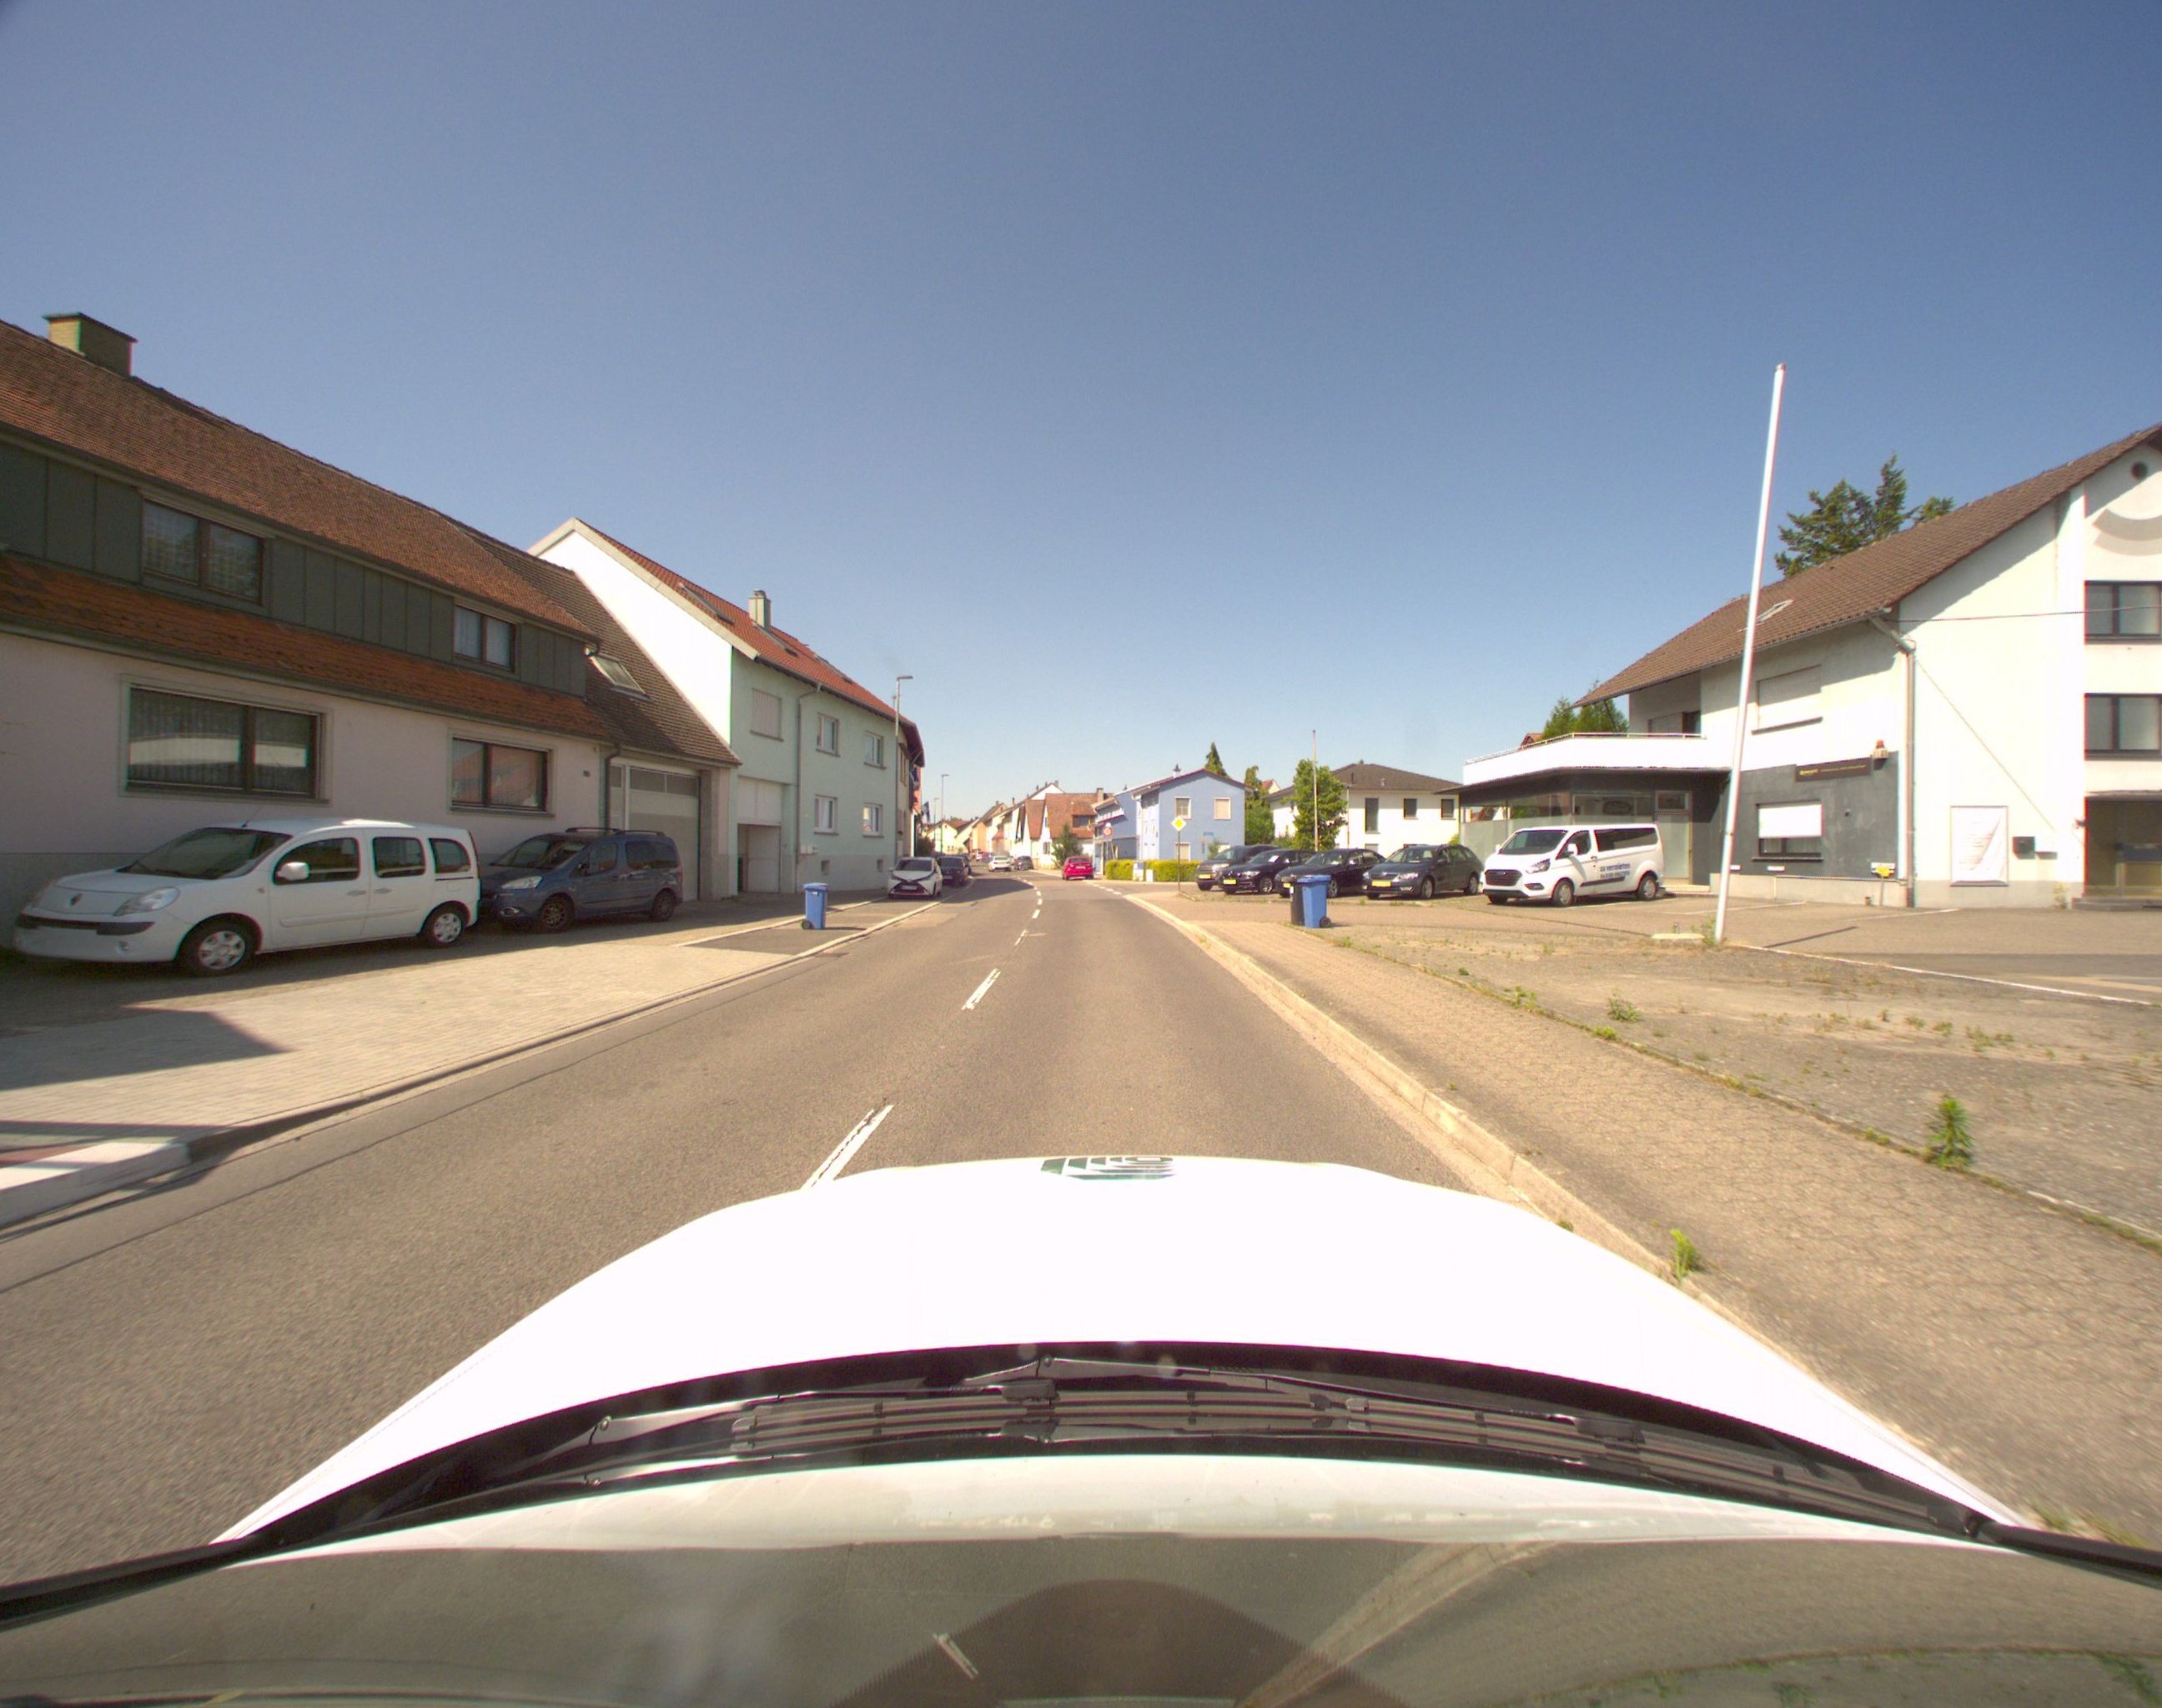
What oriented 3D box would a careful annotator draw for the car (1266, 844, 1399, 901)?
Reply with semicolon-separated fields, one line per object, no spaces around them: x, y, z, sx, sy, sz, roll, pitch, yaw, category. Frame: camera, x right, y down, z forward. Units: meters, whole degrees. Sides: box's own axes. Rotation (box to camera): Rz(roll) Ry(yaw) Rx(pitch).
7.695;0.496;24.724;4.262;1.565;1.960;-1;0;-42;car

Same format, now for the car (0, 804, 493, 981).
-10.248;0.399;10.425;1.957;1.774;4.285;1;-1;7;car

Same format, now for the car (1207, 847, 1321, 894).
6.089;0.499;26.849;3.894;1.447;1.730;-1;0;-42;car

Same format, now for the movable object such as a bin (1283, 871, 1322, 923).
4.136;0.798;15.230;0.557;0.936;0.513;-1;0;-8;movable object such as a bin

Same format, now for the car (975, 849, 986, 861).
-17.968;0.204;145.079;1.768;2.004;3.436;0;0;-11;car

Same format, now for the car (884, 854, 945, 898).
-5.952;0.773;29.464;1.681;1.462;3.643;1;-1;-4;car

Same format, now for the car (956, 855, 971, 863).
-18.945;0.832;131.190;1.995;1.288;3.788;0;0;-12;car

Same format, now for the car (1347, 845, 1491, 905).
9.602;0.528;23.003;4.339;1.550;1.961;-1;0;-40;car

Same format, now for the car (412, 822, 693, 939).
-9.570;0.432;15.269;1.825;1.793;4.355;3;0;10;car

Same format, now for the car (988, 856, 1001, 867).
-12.133;1.048;114.128;1.422;1.515;3.289;1;0;-13;car

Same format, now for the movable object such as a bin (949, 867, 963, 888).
-5.880;1.090;38.403;0.551;0.928;0.822;4;-1;-12;movable object such as a bin

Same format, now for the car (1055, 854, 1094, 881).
-0.445;0.805;50.917;1.733;1.494;4.340;-1;2;-10;car

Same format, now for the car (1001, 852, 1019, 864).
-8.603;0.481;98.712;1.706;1.497;3.437;1;0;-13;car

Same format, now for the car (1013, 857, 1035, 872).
-5.752;1.072;82.007;1.706;1.433;3.873;1;0;-13;car

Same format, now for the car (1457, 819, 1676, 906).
12.485;0.179;20.921;5.294;2.013;2.214;-1;0;-24;car

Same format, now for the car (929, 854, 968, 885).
-6.739;0.764;41.787;1.676;1.437;3.987;3;-1;-6;car

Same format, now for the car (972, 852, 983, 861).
-17.777;0.435;139.739;1.768;1.433;3.436;0;0;-11;car

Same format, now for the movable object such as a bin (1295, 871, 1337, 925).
4.243;0.793;14.717;0.557;0.939;0.513;-1;0;-8;movable object such as a bin

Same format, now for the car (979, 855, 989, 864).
-15.679;0.873;131.551;1.422;1.515;3.289;1;0;-13;car

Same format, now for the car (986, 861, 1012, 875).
-7.716;1.292;76.623;1.995;1.288;3.983;0;0;-12;car

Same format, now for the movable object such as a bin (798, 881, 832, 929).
-5.480;1.045;16.790;0.557;0.936;0.513;2;-1;-8;movable object such as a bin

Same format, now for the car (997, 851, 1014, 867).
-9.613;0.635;103.796;1.651;1.910;3.610;1;0;-13;car

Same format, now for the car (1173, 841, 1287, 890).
5.454;0.376;29.615;4.133;1.653;1.810;-1;0;-38;car

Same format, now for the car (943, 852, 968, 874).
-10.285;0.759;66.611;1.920;1.668;4.650;2;-1;-9;car
